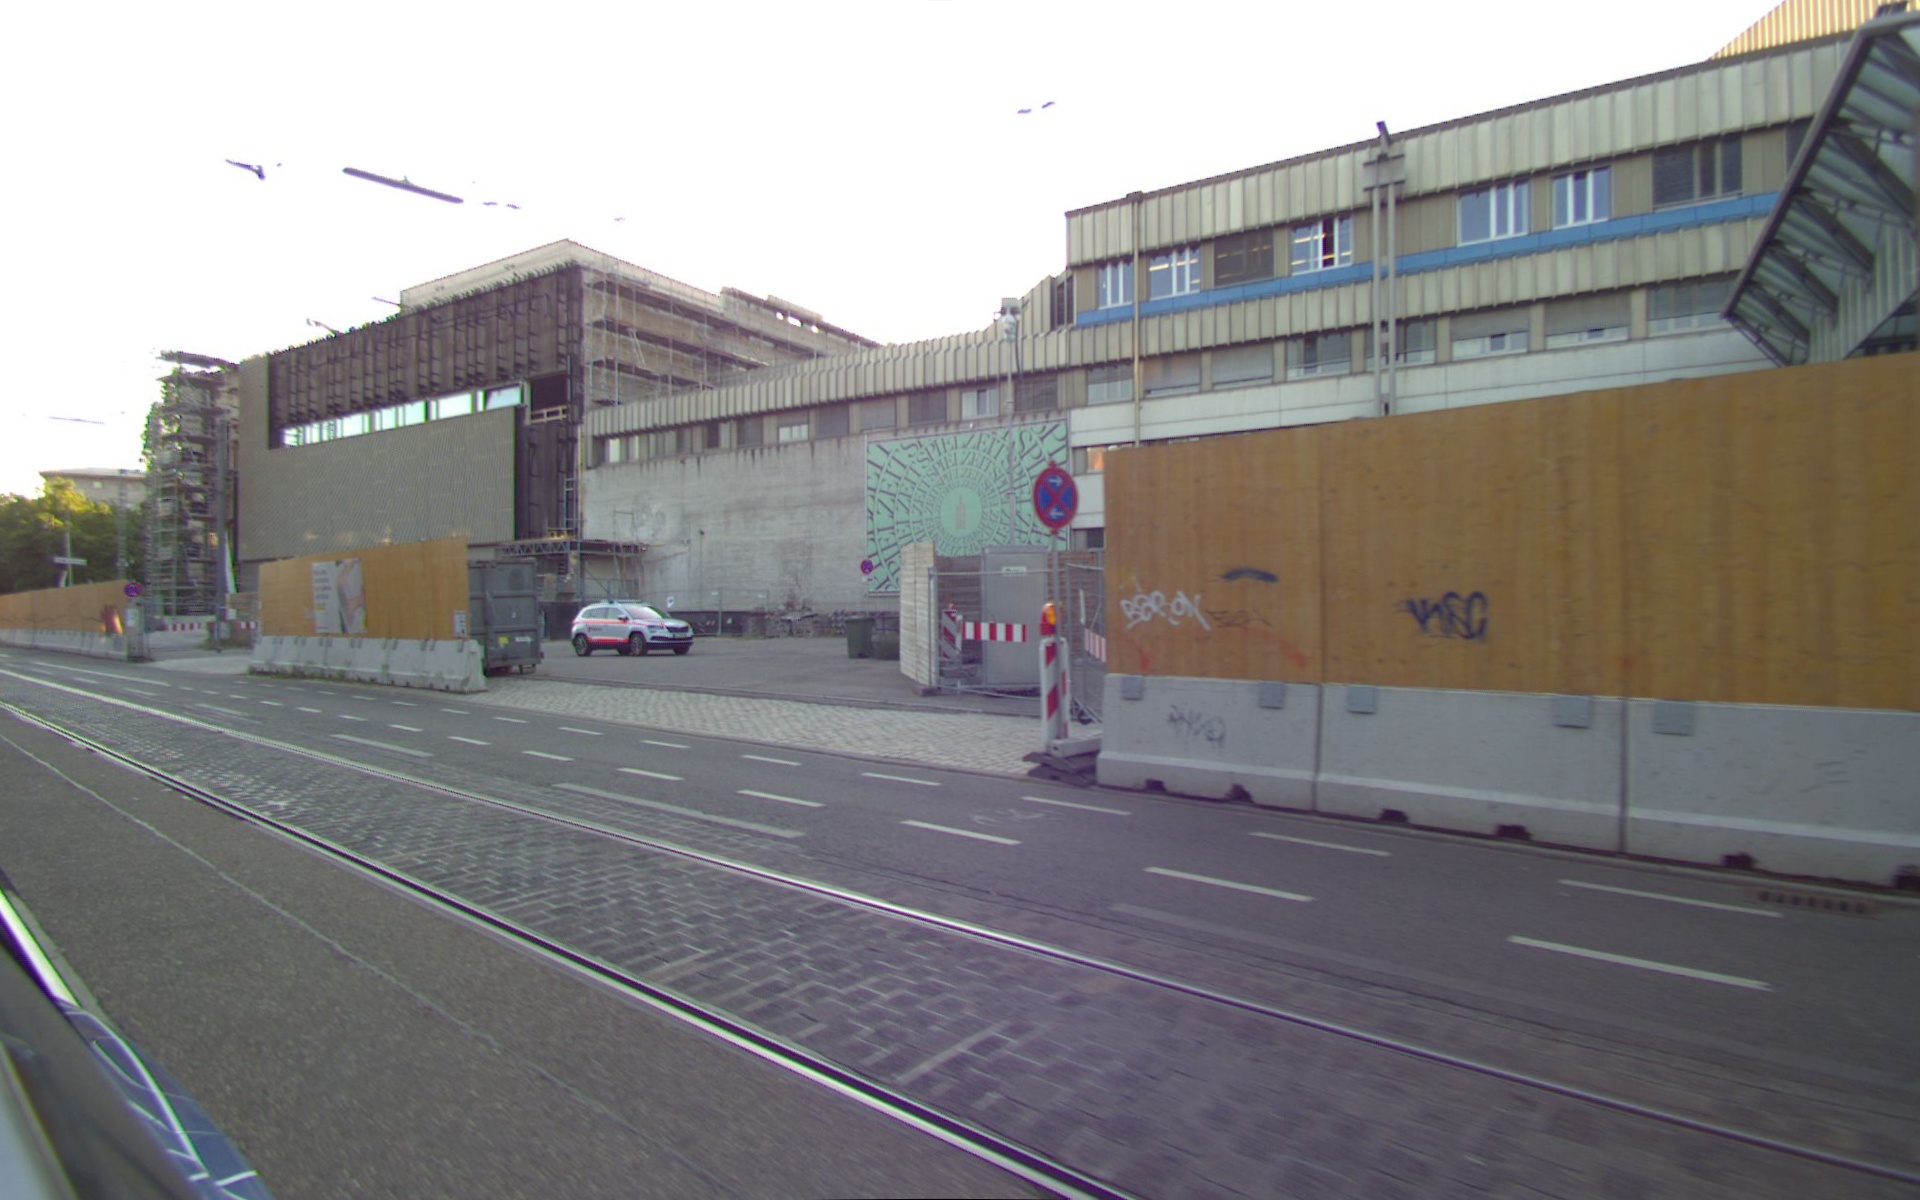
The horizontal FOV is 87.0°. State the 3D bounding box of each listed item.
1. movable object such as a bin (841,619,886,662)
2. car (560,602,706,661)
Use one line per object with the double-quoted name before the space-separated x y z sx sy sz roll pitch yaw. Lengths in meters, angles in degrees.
"movable object such as a bin" -2.429 1.004 25.471 0.760 1.043 0.832 -1 -1 33
"car" -9.936 0.926 30.675 4.268 1.676 1.977 -1 -1 34
